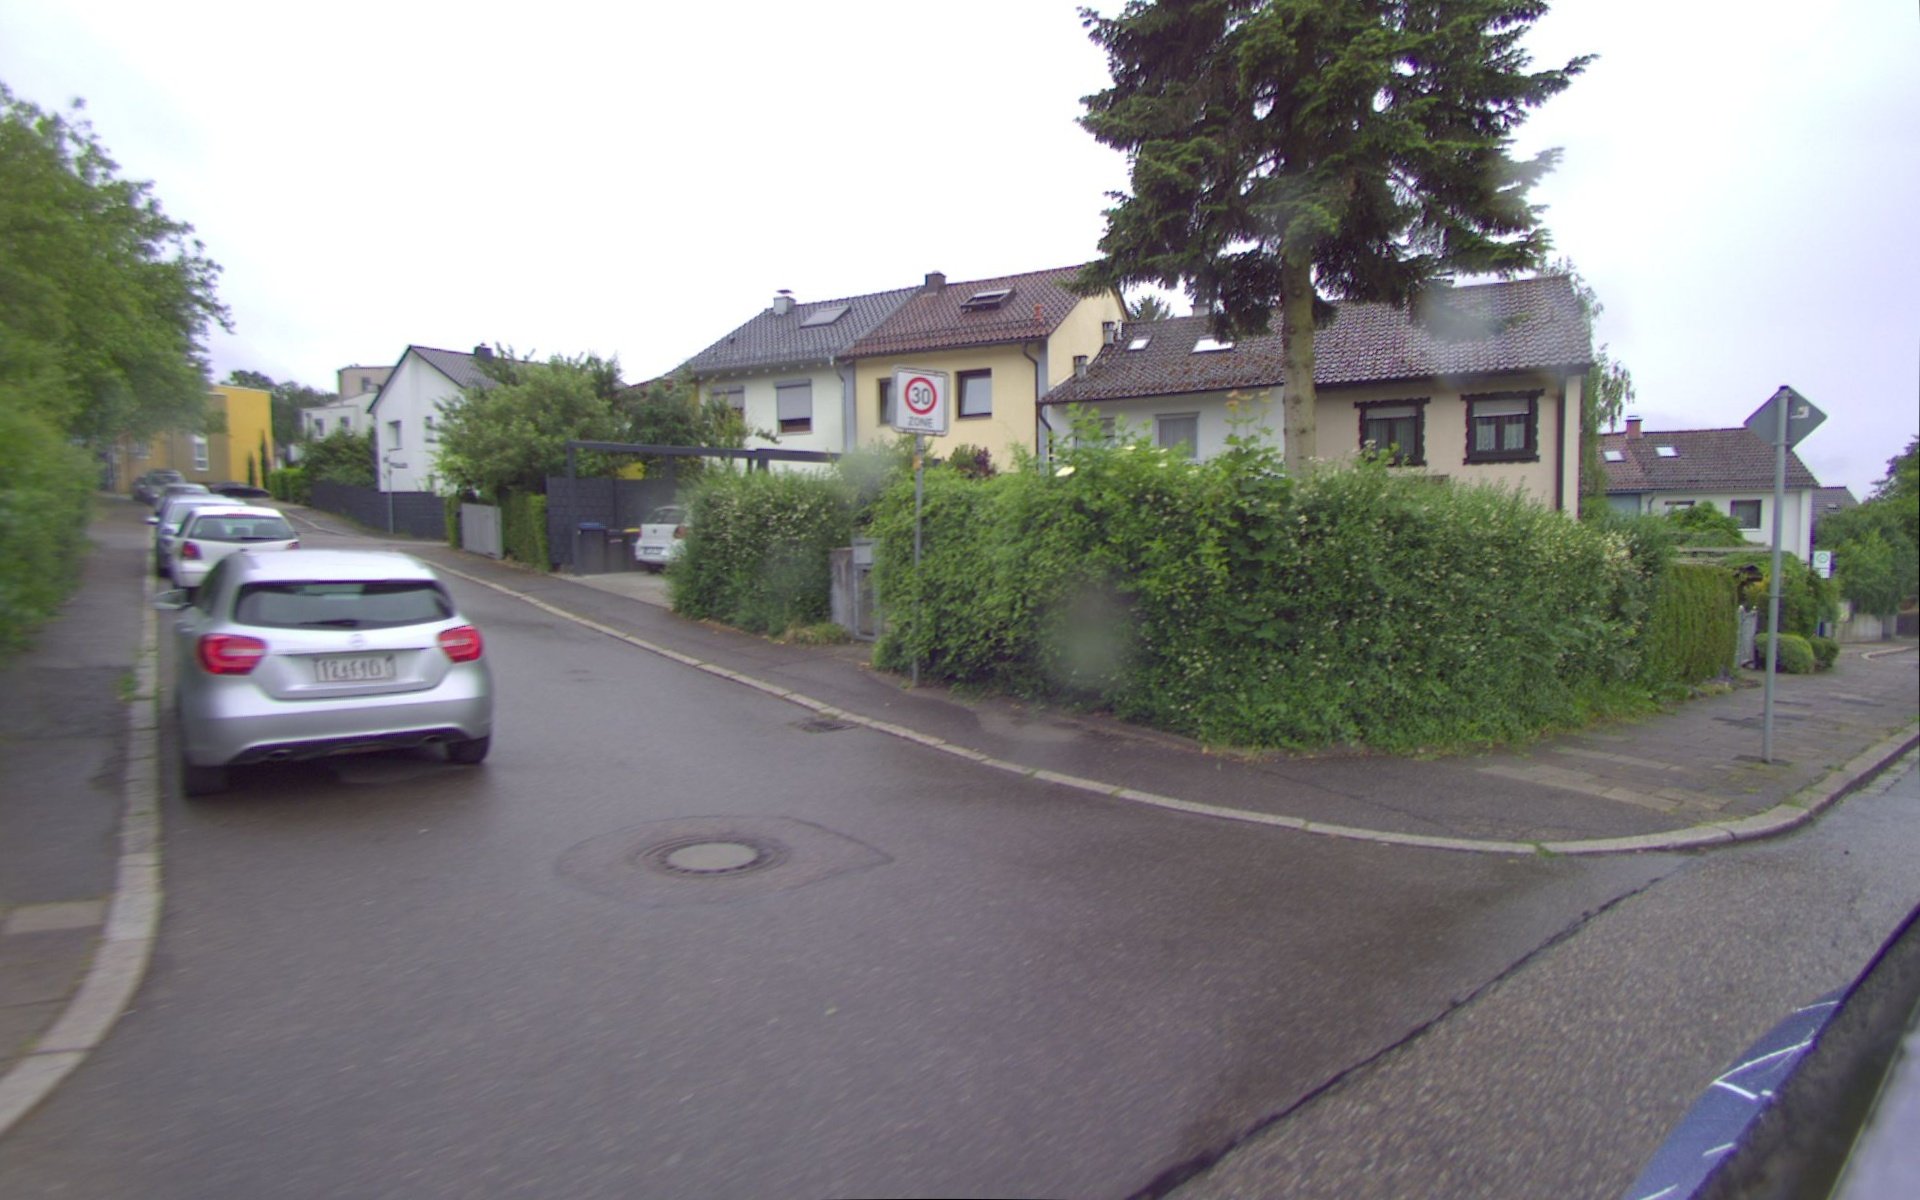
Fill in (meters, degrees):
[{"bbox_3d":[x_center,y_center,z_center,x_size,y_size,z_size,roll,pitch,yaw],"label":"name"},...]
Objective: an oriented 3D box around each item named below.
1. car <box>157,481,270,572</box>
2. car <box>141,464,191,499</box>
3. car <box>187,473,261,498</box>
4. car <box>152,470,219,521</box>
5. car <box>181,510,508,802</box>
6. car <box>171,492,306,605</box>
[{"bbox_3d":[-15.173,-1.540,20.622,1.695,1.529,3.789,1,6,-36],"label":"car"},{"bbox_3d":[-39.551,-5.877,50.478,1.694,1.530,3.789,1,3,-34],"label":"car"},{"bbox_3d":[-54.666,-8.484,75.241,1.978,1.471,3.968,1,1,24],"label":"car"},{"bbox_3d":[-28.004,-3.810,36.682,1.694,1.584,3.791,2,6,-34],"label":"car"},{"bbox_3d":[-4.827,0.186,7.671,1.696,1.530,3.787,0,6,-38],"label":"car"},{"bbox_3d":[-11.556,-0.876,16.217,1.580,1.530,3.551,1,5,-36],"label":"car"}]
